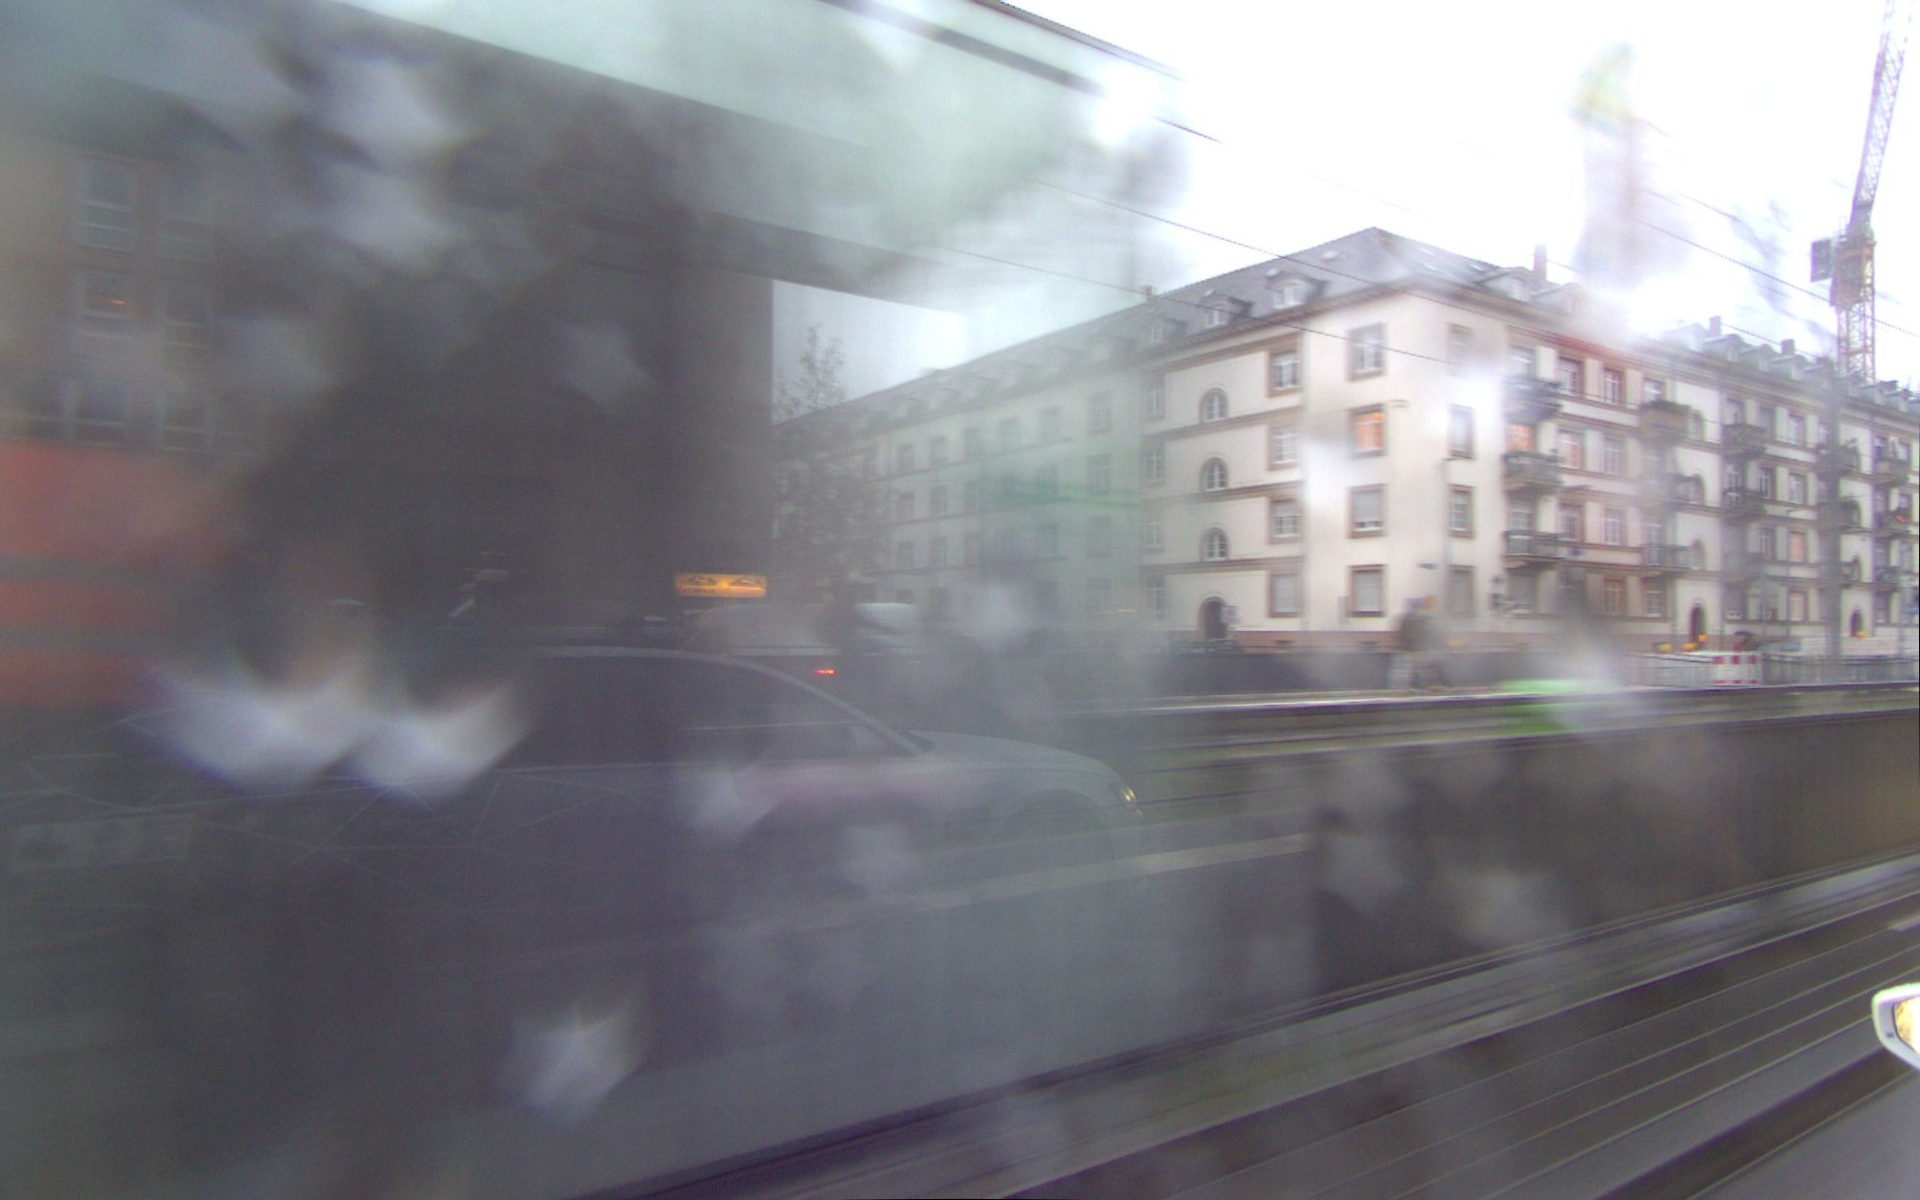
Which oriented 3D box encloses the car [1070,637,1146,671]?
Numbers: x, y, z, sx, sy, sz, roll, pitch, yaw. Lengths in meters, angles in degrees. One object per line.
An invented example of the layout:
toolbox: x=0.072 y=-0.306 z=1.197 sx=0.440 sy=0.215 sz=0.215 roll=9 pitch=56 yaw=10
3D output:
car: x=6.607 y=2.386 z=44.769 sx=3.283 sy=1.444 sz=1.445 roll=1 pitch=-2 yaw=-35

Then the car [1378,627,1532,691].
car: x=11.738 y=1.374 z=23.794 sx=3.506 sy=1.372 sz=1.673 roll=2 pitch=-1 yaw=-31

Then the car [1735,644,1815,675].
car: x=31.555 y=2.275 z=38.878 sx=3.389 sy=1.138 sz=1.446 roll=1 pitch=-2 yaw=-33

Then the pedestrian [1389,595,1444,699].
pedestrian: x=8.215 y=0.824 z=18.094 sx=0.782 sy=1.803 sz=0.823 roll=1 pitch=0 yaw=18

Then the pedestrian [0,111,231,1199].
pedestrian: x=-2.119 y=0.147 z=2.171 sx=0.796 sy=2.138 sz=0.805 roll=1 pitch=-1 yaw=-33

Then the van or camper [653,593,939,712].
van or camper: x=-4.142 y=1.265 z=25.449 sx=6.659 sy=2.718 sz=2.766 roll=1 pitch=0 yaw=-24
